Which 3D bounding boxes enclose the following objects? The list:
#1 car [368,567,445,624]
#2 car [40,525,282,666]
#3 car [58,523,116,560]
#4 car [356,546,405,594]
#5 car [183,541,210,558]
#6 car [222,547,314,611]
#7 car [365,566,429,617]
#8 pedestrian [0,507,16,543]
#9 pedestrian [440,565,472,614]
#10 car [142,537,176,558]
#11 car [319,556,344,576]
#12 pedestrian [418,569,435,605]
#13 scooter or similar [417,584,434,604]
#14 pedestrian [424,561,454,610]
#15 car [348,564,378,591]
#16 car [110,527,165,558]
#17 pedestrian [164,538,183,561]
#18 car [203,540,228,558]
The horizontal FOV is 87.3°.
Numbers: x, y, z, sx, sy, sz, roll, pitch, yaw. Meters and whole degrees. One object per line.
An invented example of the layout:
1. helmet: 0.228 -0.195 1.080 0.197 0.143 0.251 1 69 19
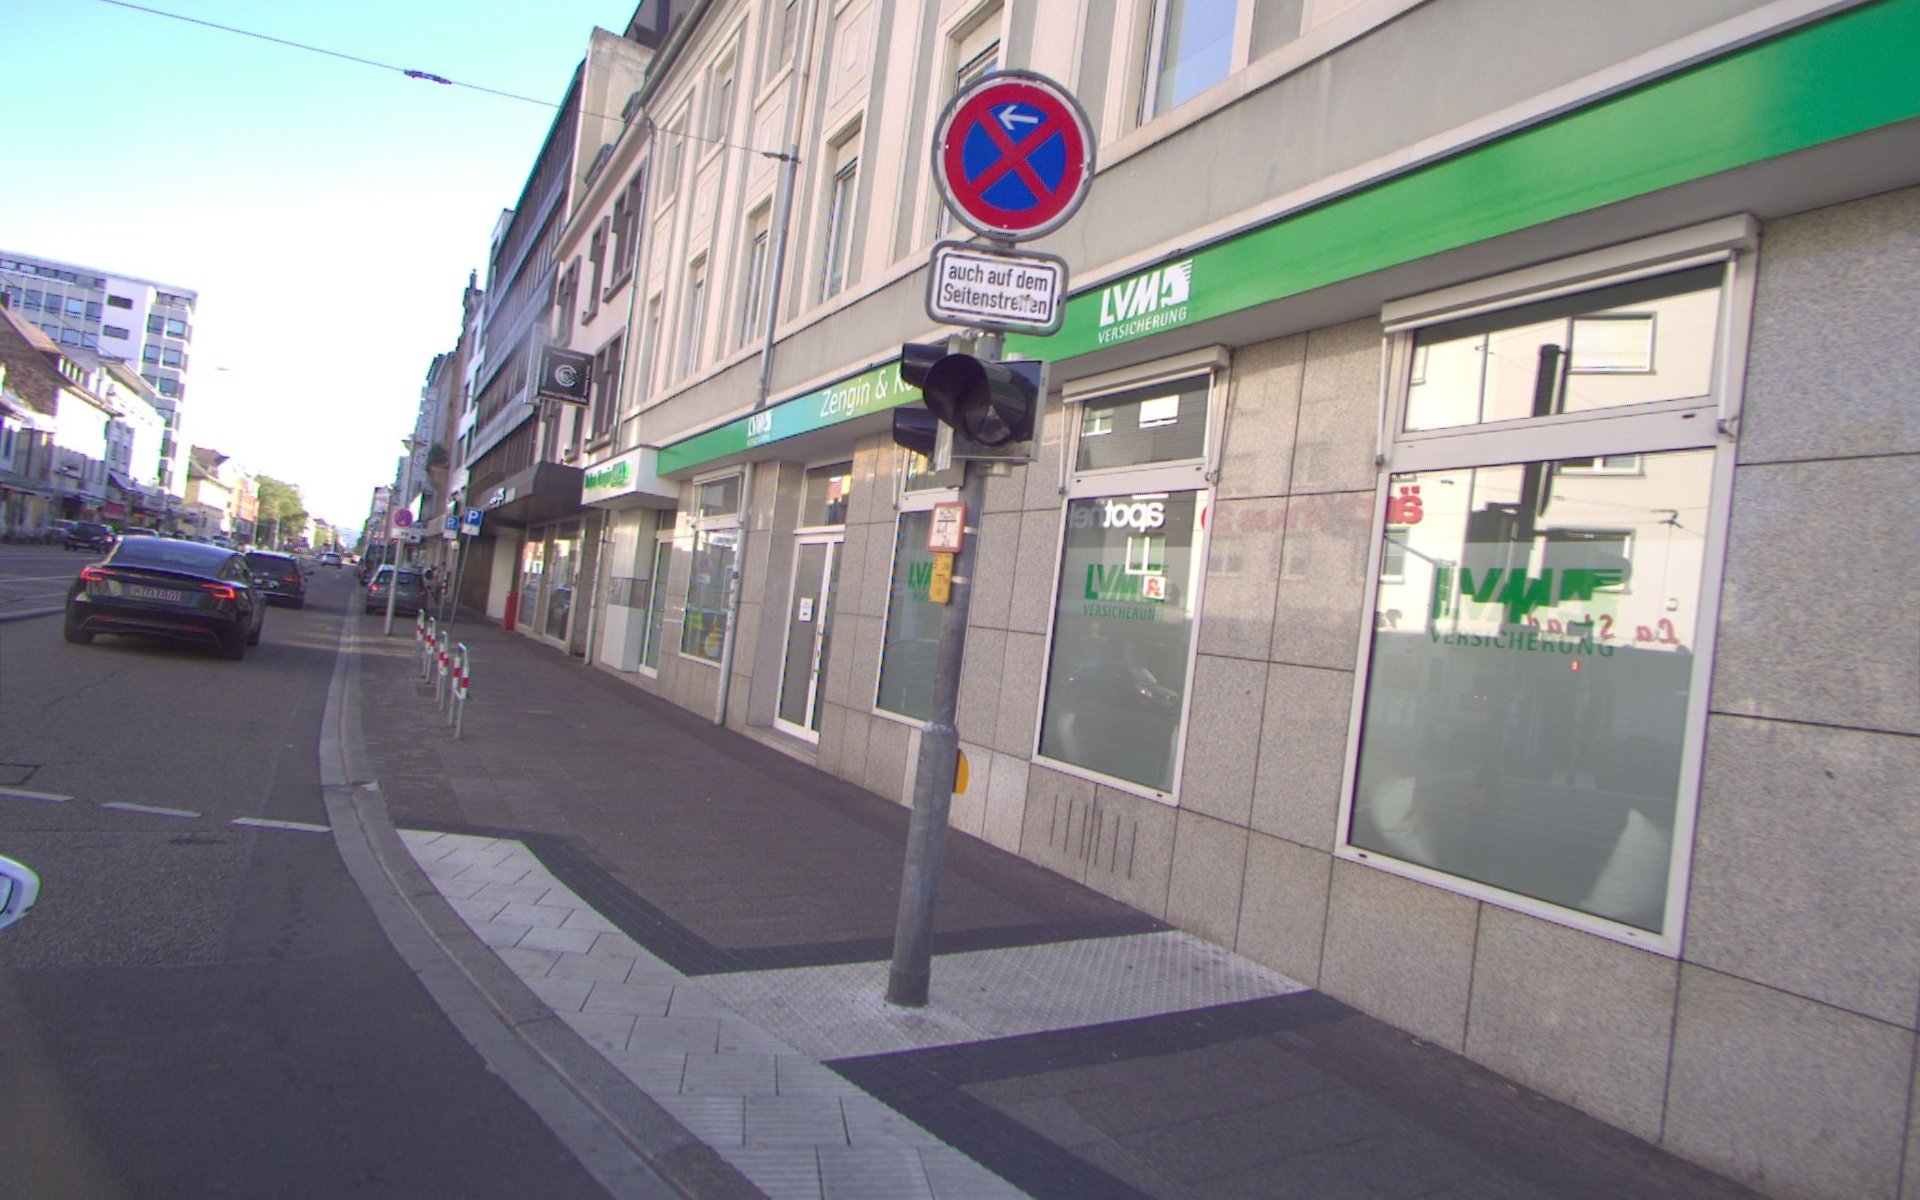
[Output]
1. car: -17.278 -0.173 31.407 1.833 1.479 4.271 7 -2 -29
2. car: -10.821 -0.093 13.990 1.857 1.443 4.331 9 -2 -30
3. car: -45.021 -2.998 51.928 1.637 1.584 2.808 8 -2 -31
4. car: -34.670 -1.816 60.103 2.156 2.491 5.318 6 -1 -32
5. car: -85.333 -5.581 112.498 1.705 1.589 3.822 8 -2 -29
6. car: -19.279 -0.584 28.195 1.750 1.434 4.321 8 -3 -32
7. car: -20.053 -0.345 35.750 1.733 1.479 4.262 8 -2 -31
8. pedestrian: -49.777 -3.938 52.181 0.880 1.796 0.682 8 -1 -33
9. pedestrian: -20.366 -0.442 40.640 0.916 1.865 0.991 6 0 -31
10. car: -73.616 -4.801 92.485 1.757 1.525 3.835 8 -2 -30
11. car: -69.913 -3.808 111.889 2.071 1.892 3.724 9 -2 -31
12. pedestrian: -26.750 -0.678 50.457 0.552 1.735 0.947 6 0 -33
13. scooter or similar: -27.305 -0.311 51.413 0.589 0.947 1.287 6 -1 -33
14. pedestrian: -20.233 -0.556 39.069 0.774 1.772 1.024 8 -1 -30
15. car: -48.857 -1.867 82.354 1.809 1.892 3.724 9 -2 -31
16. car: -50.713 -3.508 62.079 1.876 1.613 4.230 7 -2 -31
17. pedestrian: -68.598 -4.396 87.760 0.759 1.870 0.829 7 -1 0
18. car: -95.294 -6.522 128.838 1.995 1.984 4.687 8 -2 -31
